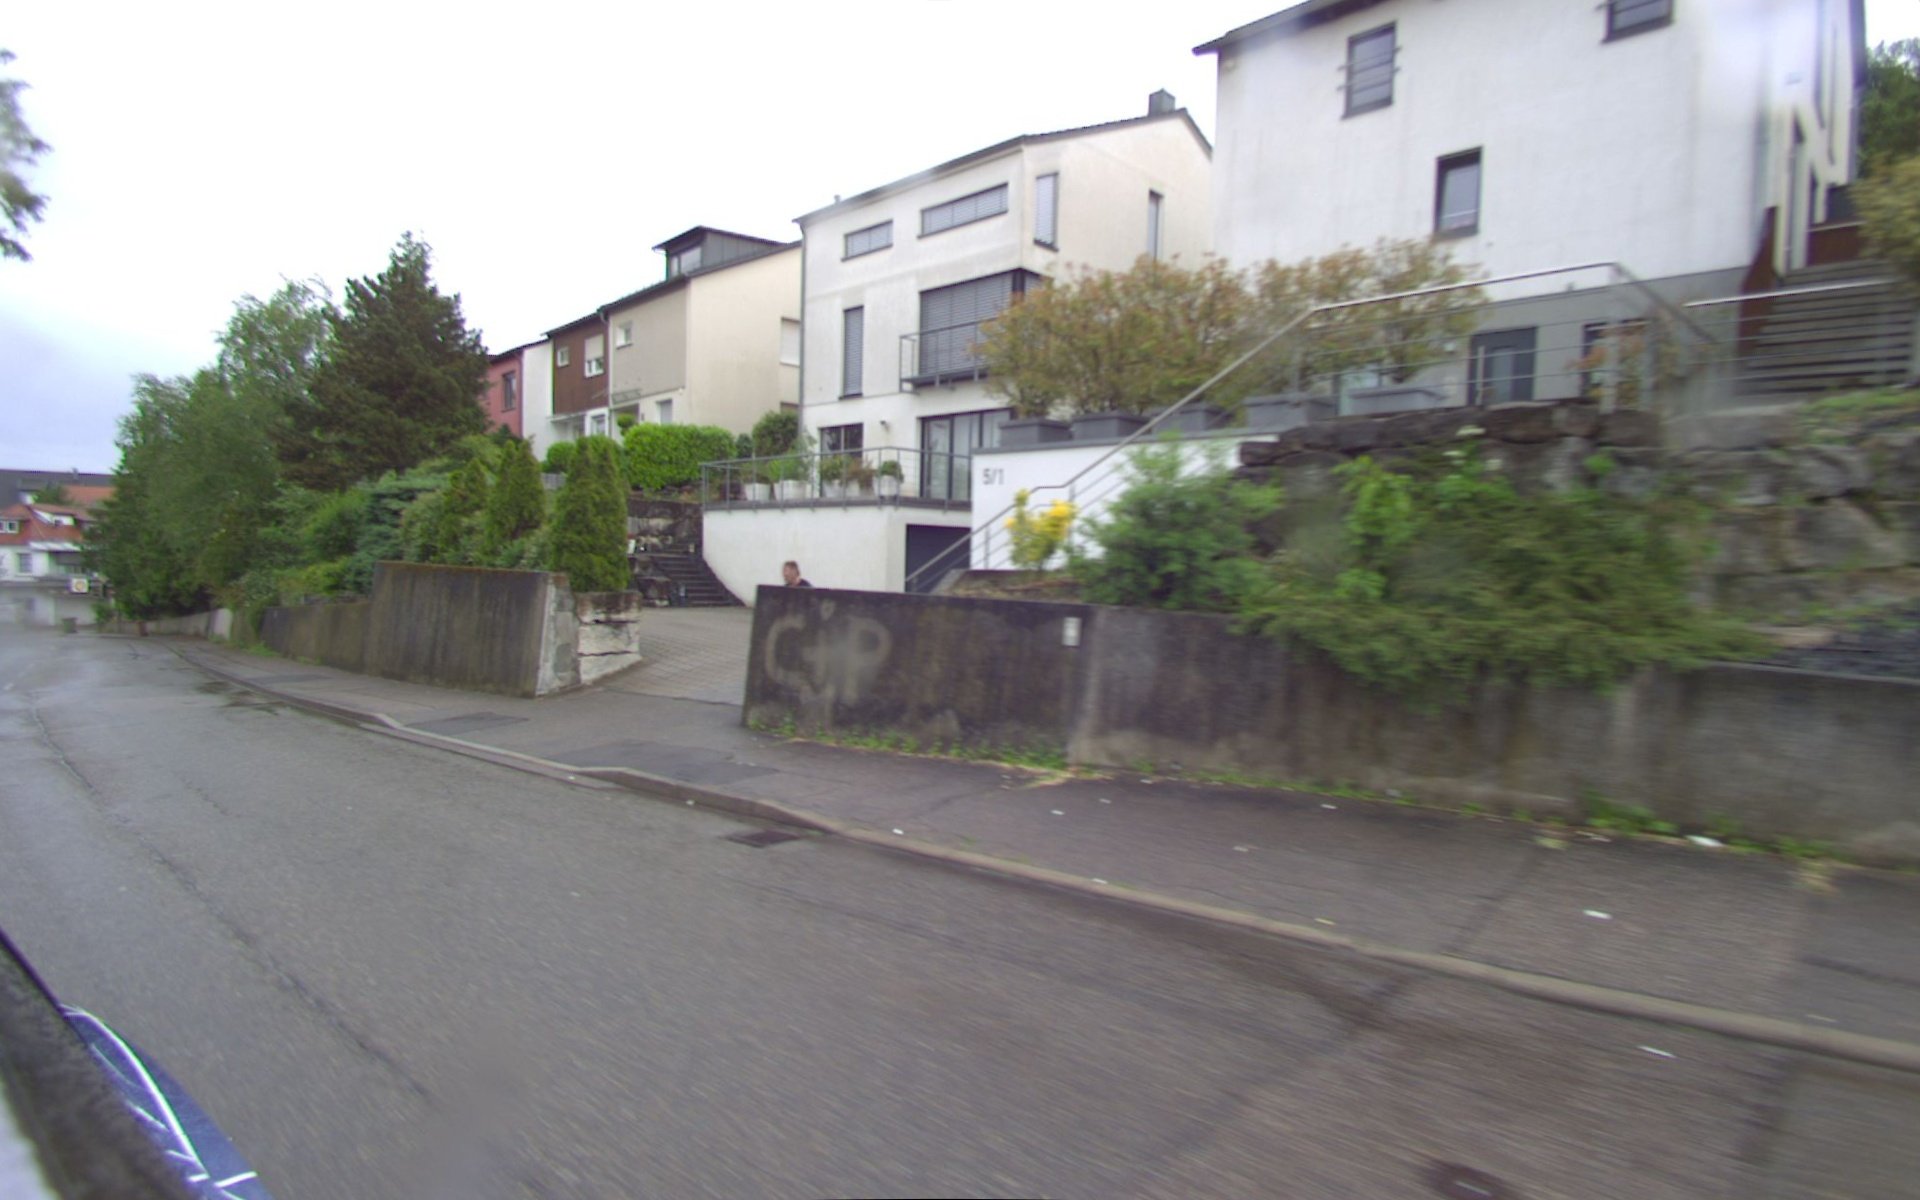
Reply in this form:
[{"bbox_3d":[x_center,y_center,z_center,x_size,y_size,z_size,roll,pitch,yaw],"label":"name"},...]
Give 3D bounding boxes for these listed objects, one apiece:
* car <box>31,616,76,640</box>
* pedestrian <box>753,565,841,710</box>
[{"bbox_3d":[-60.589,1.854,67.632,3.990,1.511,1.738,-1,0,40],"label":"car"},{"bbox_3d":[-1.940,0.438,12.059,0.731,1.661,0.650,-3,-1,38],"label":"pedestrian"}]
